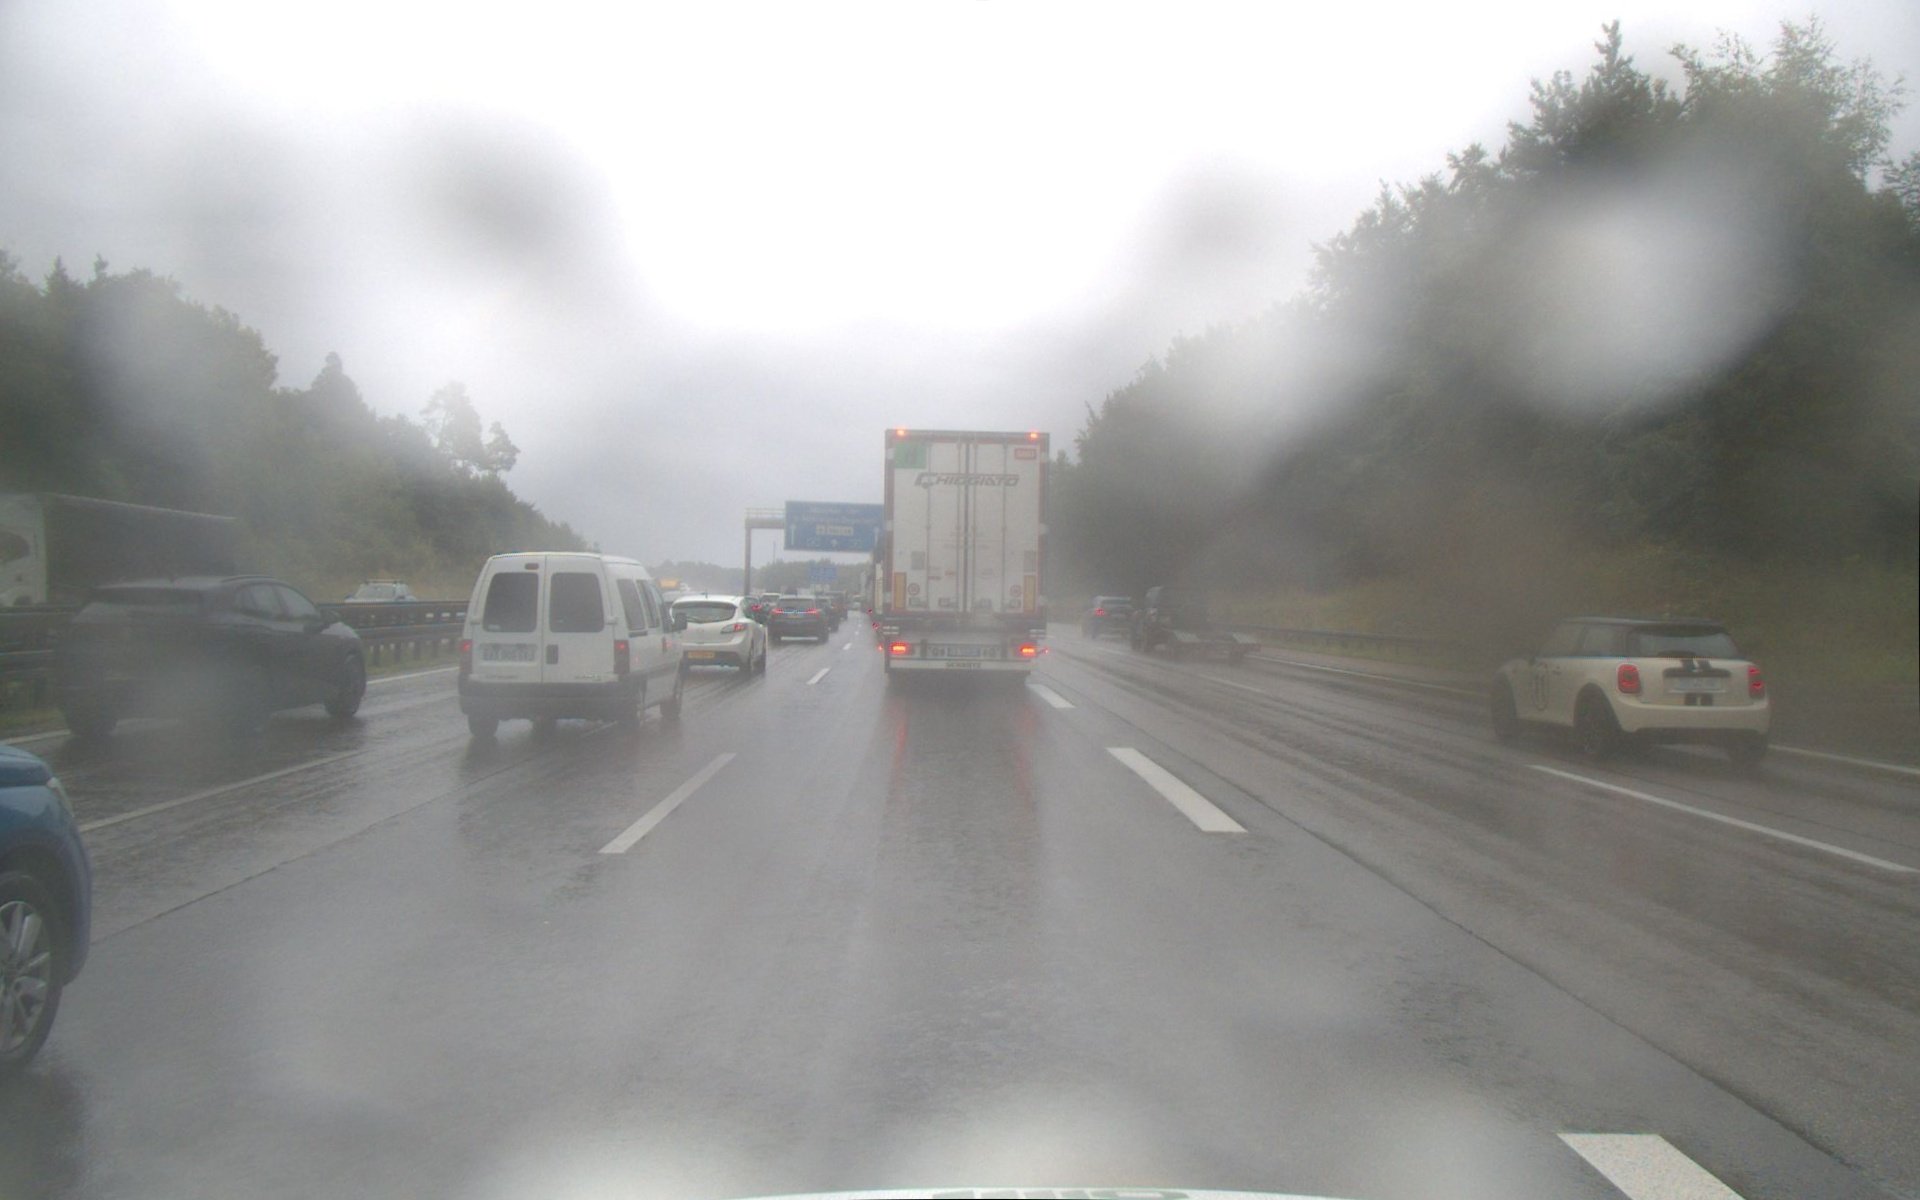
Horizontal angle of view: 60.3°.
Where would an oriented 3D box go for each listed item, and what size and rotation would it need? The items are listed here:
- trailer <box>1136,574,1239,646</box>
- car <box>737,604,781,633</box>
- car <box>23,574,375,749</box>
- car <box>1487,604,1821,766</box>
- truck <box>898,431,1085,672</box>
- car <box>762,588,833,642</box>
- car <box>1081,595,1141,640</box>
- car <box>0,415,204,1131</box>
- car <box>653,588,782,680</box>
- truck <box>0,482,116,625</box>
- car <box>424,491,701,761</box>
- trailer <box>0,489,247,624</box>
[{"bbox_3d":[5.823,0.224,42.916,2.196,1.744,5.084,1,0,3],"label":"trailer"},{"bbox_3d":[-9.896,0.889,81.587,1.809,1.354,4.464,1,0,-3],"label":"car"},{"bbox_3d":[-7.934,0.558,17.768,1.808,1.619,4.465,1,0,-2],"label":"car"},{"bbox_3d":[7.117,0.794,17.473,1.754,1.431,4.228,1,0,0],"label":"car"},{"bbox_3d":[0.455,-0.720,30.905,2.814,3.624,11.300,1,0,0],"label":"truck"},{"bbox_3d":[-5.111,0.429,52.556,1.808,1.619,4.466,1,0,-1],"label":"car"},{"bbox_3d":[5.767,0.637,63.611,1.948,1.611,4.768,1,0,1],"label":"car"},{"bbox_3d":[-3.747,0.467,3.112,2.222,1.945,5.016,1,0,1],"label":"car"},{"bbox_3d":[-4.561,0.586,31.676,1.807,1.619,4.072,1,0,1],"label":"car"},{"bbox_3d":[-27.514,-1.291,47.949,2.959,3.884,6.262,1,0,-1],"label":"truck"},{"bbox_3d":[-4.288,0.240,18.728,2.169,2.618,5.012,1,0,-4],"label":"car"},{"bbox_3d":[-27.765,-1.311,54.705,2.963,3.884,13.555,1,0,-2],"label":"trailer"}]
